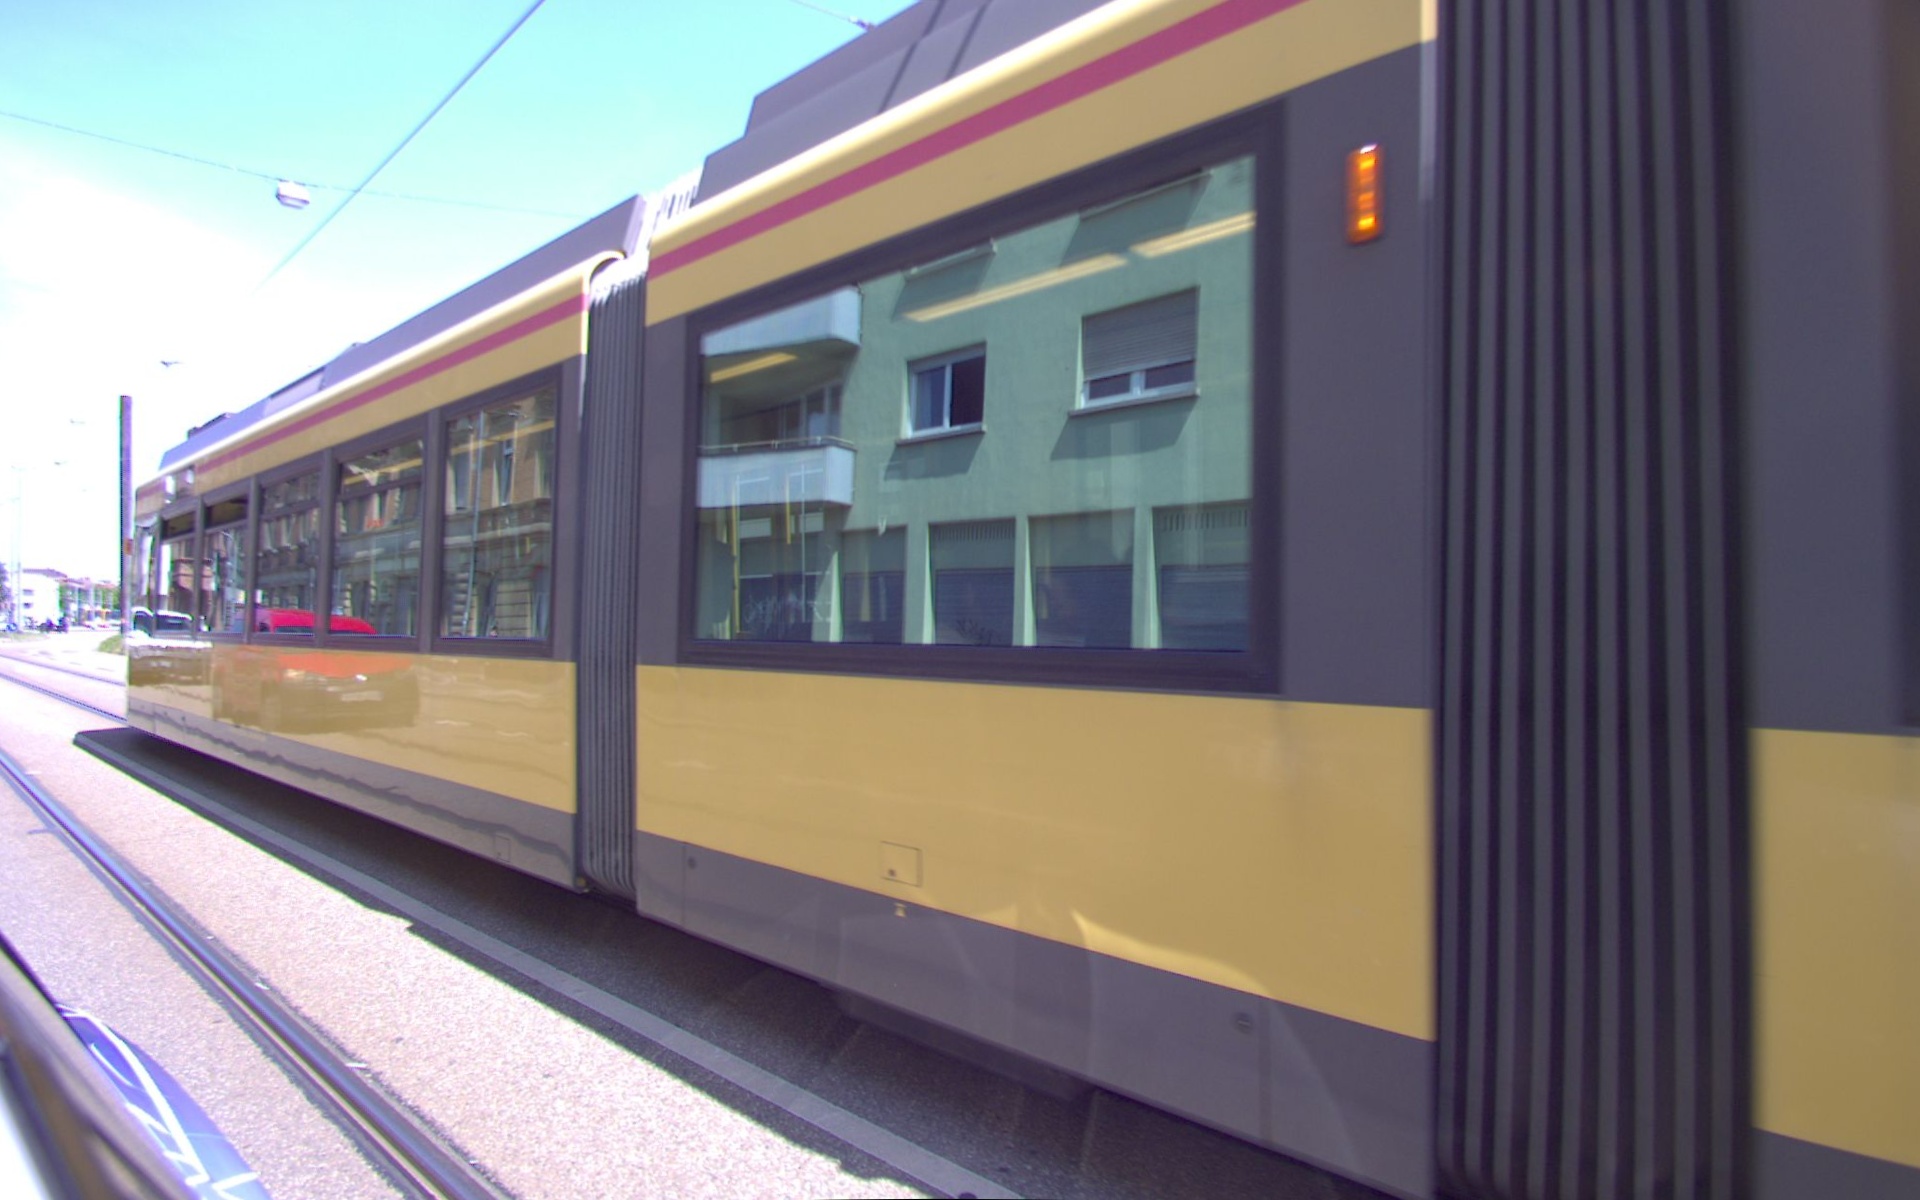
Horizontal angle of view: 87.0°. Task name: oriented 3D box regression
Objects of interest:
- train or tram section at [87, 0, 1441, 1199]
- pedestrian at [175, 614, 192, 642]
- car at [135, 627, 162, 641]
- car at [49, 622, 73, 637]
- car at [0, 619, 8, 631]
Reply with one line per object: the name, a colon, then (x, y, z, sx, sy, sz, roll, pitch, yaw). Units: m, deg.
train or tram section: (-3.820, -0.283, 7.940, 13.419, 3.607, 2.929, -1, -1, 42)
pedestrian: (-47.464, 1.707, 61.871, 0.719, 1.654, 0.821, 0, -1, -44)
car: (-86.416, 3.622, 107.769, 4.289, 1.377, 1.738, -1, -1, 44)
car: (-102.134, 3.340, 115.017, 1.801, 1.639, 4.528, 2, -2, -44)
car: (-122.995, 3.210, 128.958, 5.131, 1.542, 1.972, -1, -3, 43)
